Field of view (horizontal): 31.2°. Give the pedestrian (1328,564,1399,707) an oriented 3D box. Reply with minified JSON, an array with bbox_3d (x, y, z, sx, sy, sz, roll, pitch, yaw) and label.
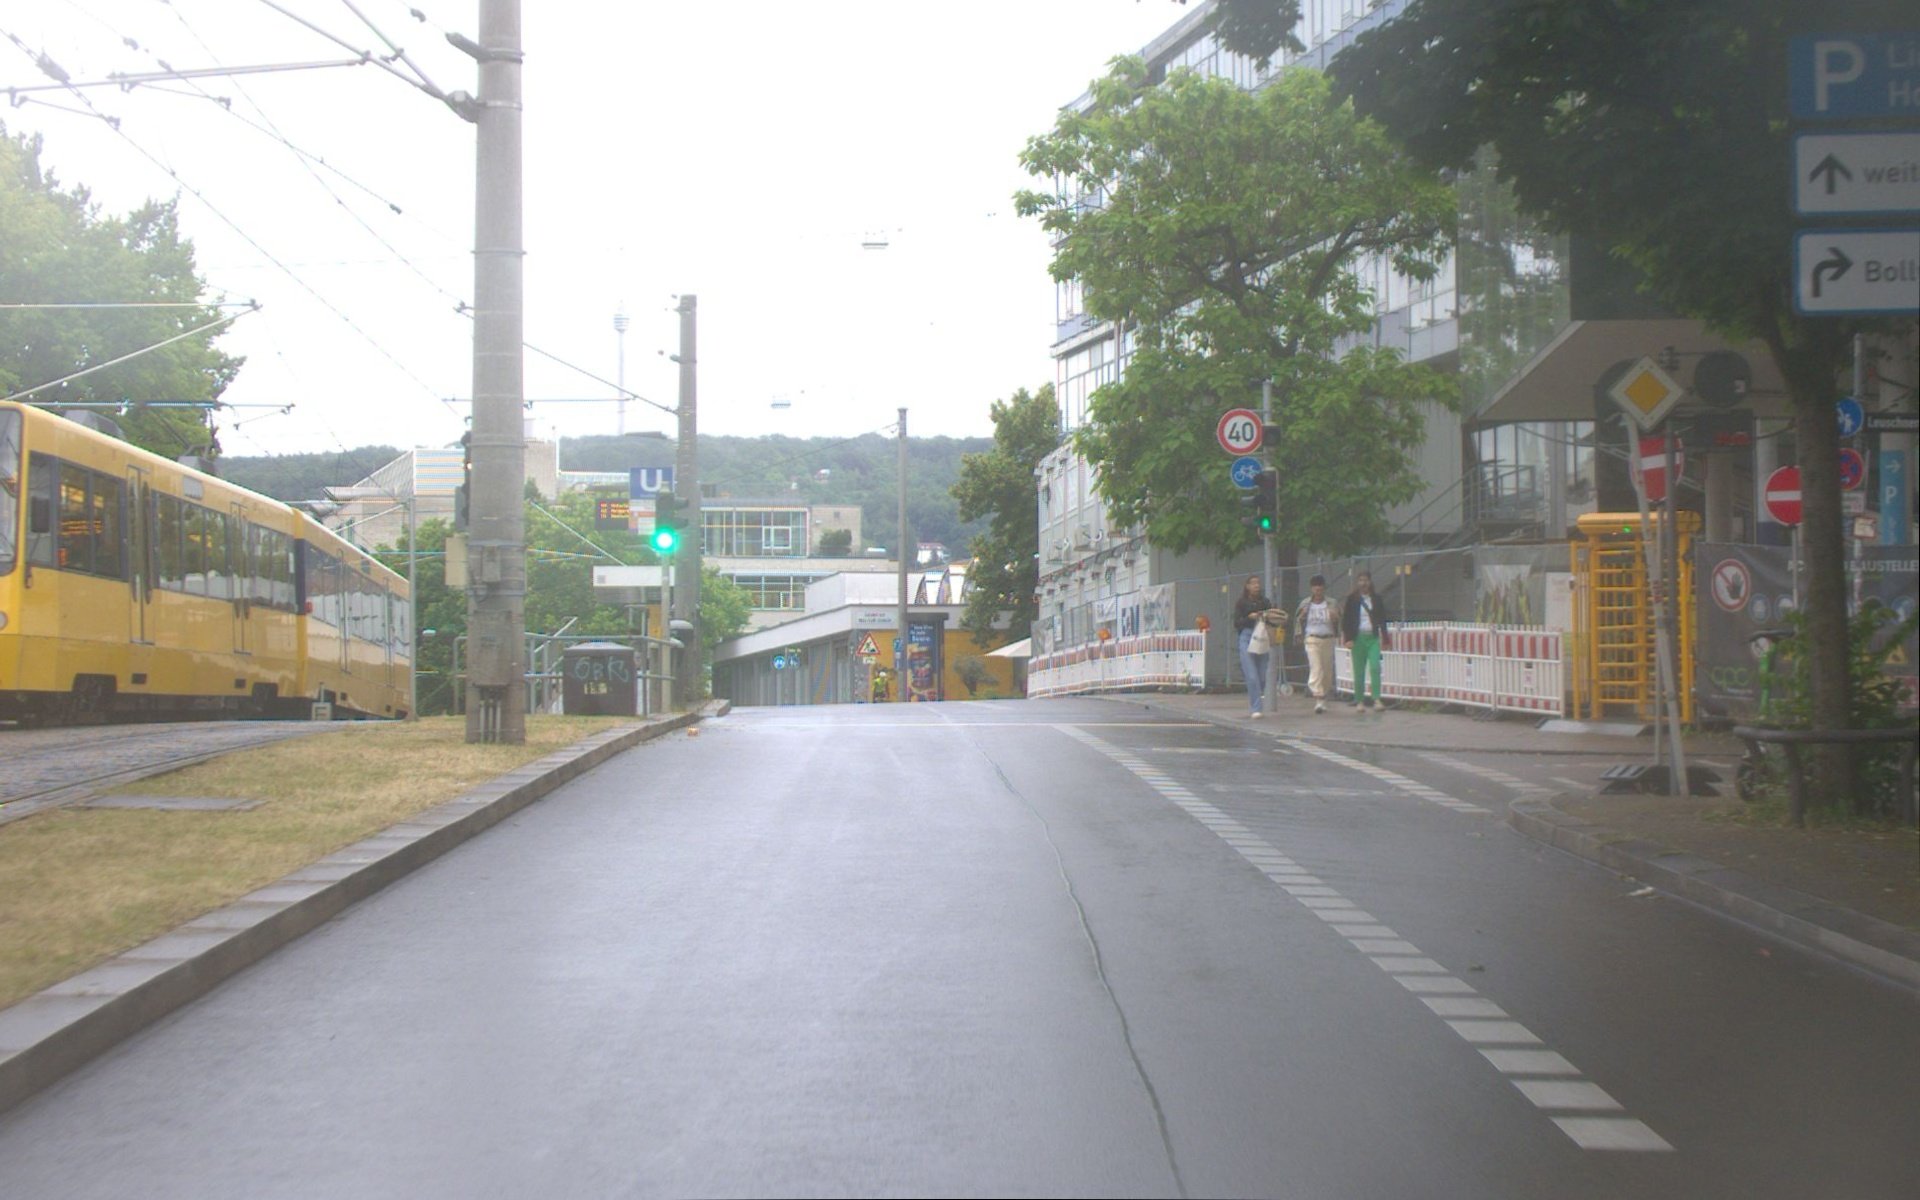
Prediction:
[{"bbox_3d":[5.059,0.434,43.173,0.699,1.779,1.067,0,0,-4],"label":"pedestrian"}]

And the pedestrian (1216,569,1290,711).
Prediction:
[{"bbox_3d":[3.595,0.478,42.261,0.736,1.724,1.119,0,0,-4],"label":"pedestrian"}]

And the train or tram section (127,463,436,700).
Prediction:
[{"bbox_3d":[-12.031,-0.121,63.151,2.746,3.684,18.971,0,-1,-3],"label":"train or tram section"}]

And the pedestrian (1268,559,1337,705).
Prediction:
[{"bbox_3d":[4.312,0.393,43.309,0.699,1.809,0.977,0,0,-4],"label":"pedestrian"}]

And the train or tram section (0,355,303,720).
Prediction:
[{"bbox_3d":[-11.233,-0.468,44.180,2.746,3.684,18.971,0,-1,-3],"label":"train or tram section"}]
